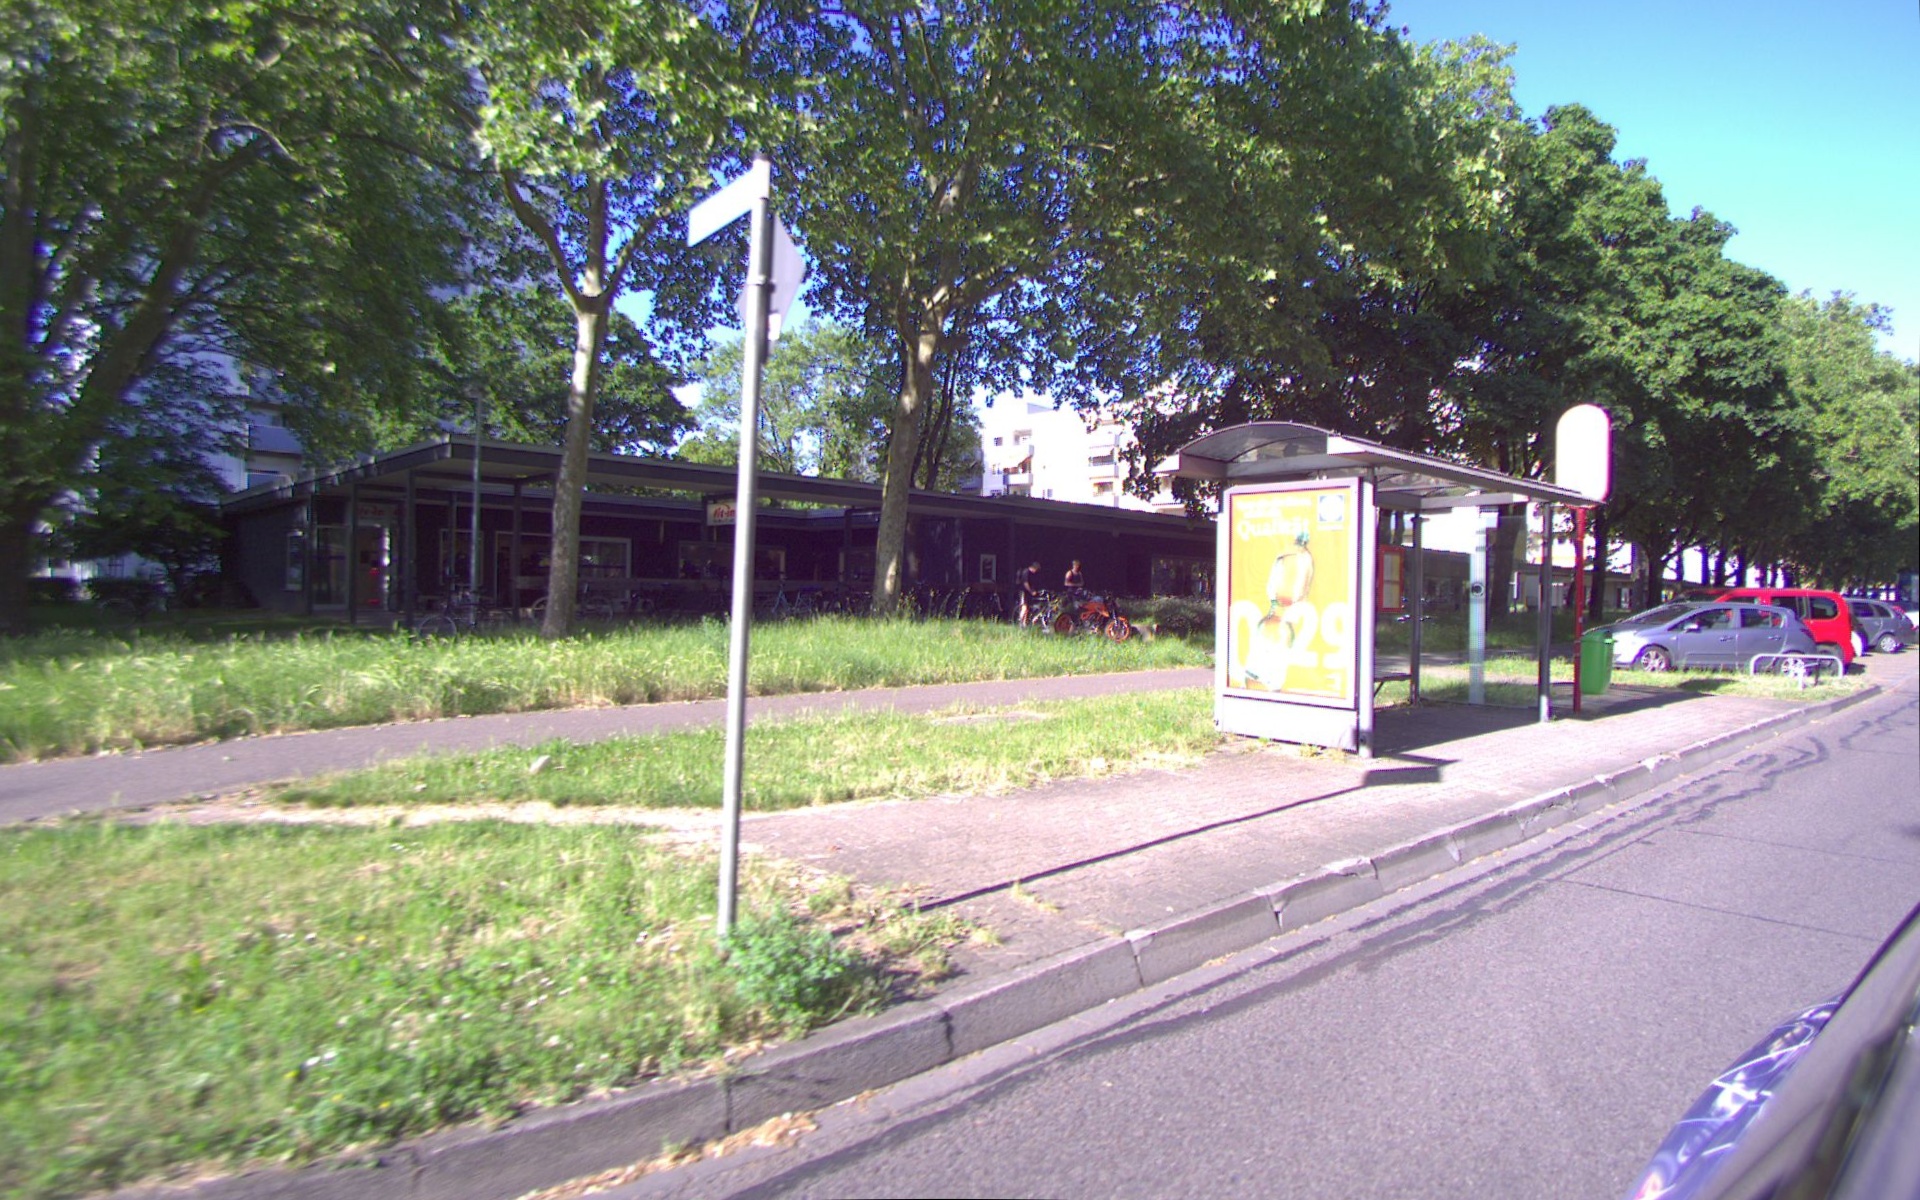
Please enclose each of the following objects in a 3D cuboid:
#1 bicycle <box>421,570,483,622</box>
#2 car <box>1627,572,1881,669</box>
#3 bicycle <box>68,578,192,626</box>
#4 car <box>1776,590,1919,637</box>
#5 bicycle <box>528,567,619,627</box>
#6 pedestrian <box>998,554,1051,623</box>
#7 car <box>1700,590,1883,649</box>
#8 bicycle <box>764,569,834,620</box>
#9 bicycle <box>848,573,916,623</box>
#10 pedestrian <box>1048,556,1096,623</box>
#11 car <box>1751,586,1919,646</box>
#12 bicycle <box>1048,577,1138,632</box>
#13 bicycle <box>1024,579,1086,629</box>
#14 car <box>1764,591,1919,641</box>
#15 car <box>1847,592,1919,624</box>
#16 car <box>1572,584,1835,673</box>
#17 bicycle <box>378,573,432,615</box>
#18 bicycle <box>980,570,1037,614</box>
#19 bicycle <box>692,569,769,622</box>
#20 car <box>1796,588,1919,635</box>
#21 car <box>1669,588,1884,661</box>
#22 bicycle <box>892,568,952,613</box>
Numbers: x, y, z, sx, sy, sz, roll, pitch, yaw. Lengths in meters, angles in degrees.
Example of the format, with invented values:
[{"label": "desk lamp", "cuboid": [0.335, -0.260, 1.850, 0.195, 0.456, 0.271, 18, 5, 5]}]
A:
[{"label": "bicycle", "cuboid": [-11.852, -0.111, 23.581, 1.800, 1.129, 0.700, 2, 3, 43]}, {"label": "car", "cuboid": [17.030, 0.394, 21.877, 3.881, 1.865, 1.767, 2, 2, 5]}, {"label": "bicycle", "cuboid": [-19.368, 0.020, 23.657, 0.504, 0.971, 2.163, 2, 5, 43]}, {"label": "car", "cuboid": [31.640, 0.457, 36.057, 3.514, 1.438, 1.709, 2, 2, 6]}, {"label": "bicycle", "cuboid": [-8.467, -0.074, 22.221, 1.775, 1.269, 0.576, -1, 0, -42]}, {"label": "pedestrian", "cuboid": [1.657, -0.302, 26.022, 1.126, 1.729, 0.722, 1, 1, 41]}, {"label": "car", "cuboid": [23.556, 0.526, 28.782, 3.677, 1.476, 1.682, 2, 2, 3]}, {"label": "bicycle", "cuboid": [-4.176, -0.148, 26.386, 1.775, 1.269, 0.576, -1, 0, -42]}, {"label": "bicycle", "cuboid": [-2.032, -0.061, 26.414, 1.775, 1.269, 0.576, -1, 0, -42]}, {"label": "pedestrian", "cuboid": [3.177, -0.301, 28.690, 0.963, 1.863, 0.939, 1, 1, 41]}, {"label": "car", "cuboid": [26.682, 0.447, 30.867, 3.654, 1.610, 1.700, 2, 2, 2]}, {"label": "bicycle", "cuboid": [3.022, 0.080, 23.151, 2.064, 1.172, 0.554, 3, 2, 40]}, {"label": "bicycle", "cuboid": [2.362, 0.077, 25.415, 0.550, 1.172, 2.077, 1, 2, -26]}, {"label": "car", "cuboid": [29.275, 0.519, 33.400, 4.012, 1.420, 1.686, 2, 2, 2]}, {"label": "car", "cuboid": [46.136, 0.419, 48.904, 4.590, 1.443, 2.000, 2, 2, 2]}, {"label": "car", "cuboid": [14.226, 0.504, 19.533, 3.763, 1.490, 1.516, 2, 2, 6]}, {"label": "bicycle", "cuboid": [-14.273, -0.174, 26.006, 1.800, 0.966, 0.700, 4, 3, 43]}, {"label": "bicycle", "cuboid": [1.440, -0.237, 29.782, 1.775, 1.269, 0.576, -1, 0, -42]}, {"label": "bicycle", "cuboid": [-5.644, -0.123, 24.962, 1.775, 1.269, 0.576, -1, 0, -42]}, {"label": "car", "cuboid": [34.691, 0.422, 38.382, 4.228, 1.697, 1.864, 1, 0, 6]}, {"label": "car", "cuboid": [19.318, 0.540, 24.090, 3.564, 1.513, 1.680, 2, 2, 6]}, {"label": "bicycle", "cuboid": [-1.104, -0.282, 29.620, 1.775, 1.269, 0.576, -1, 0, -42]}]
